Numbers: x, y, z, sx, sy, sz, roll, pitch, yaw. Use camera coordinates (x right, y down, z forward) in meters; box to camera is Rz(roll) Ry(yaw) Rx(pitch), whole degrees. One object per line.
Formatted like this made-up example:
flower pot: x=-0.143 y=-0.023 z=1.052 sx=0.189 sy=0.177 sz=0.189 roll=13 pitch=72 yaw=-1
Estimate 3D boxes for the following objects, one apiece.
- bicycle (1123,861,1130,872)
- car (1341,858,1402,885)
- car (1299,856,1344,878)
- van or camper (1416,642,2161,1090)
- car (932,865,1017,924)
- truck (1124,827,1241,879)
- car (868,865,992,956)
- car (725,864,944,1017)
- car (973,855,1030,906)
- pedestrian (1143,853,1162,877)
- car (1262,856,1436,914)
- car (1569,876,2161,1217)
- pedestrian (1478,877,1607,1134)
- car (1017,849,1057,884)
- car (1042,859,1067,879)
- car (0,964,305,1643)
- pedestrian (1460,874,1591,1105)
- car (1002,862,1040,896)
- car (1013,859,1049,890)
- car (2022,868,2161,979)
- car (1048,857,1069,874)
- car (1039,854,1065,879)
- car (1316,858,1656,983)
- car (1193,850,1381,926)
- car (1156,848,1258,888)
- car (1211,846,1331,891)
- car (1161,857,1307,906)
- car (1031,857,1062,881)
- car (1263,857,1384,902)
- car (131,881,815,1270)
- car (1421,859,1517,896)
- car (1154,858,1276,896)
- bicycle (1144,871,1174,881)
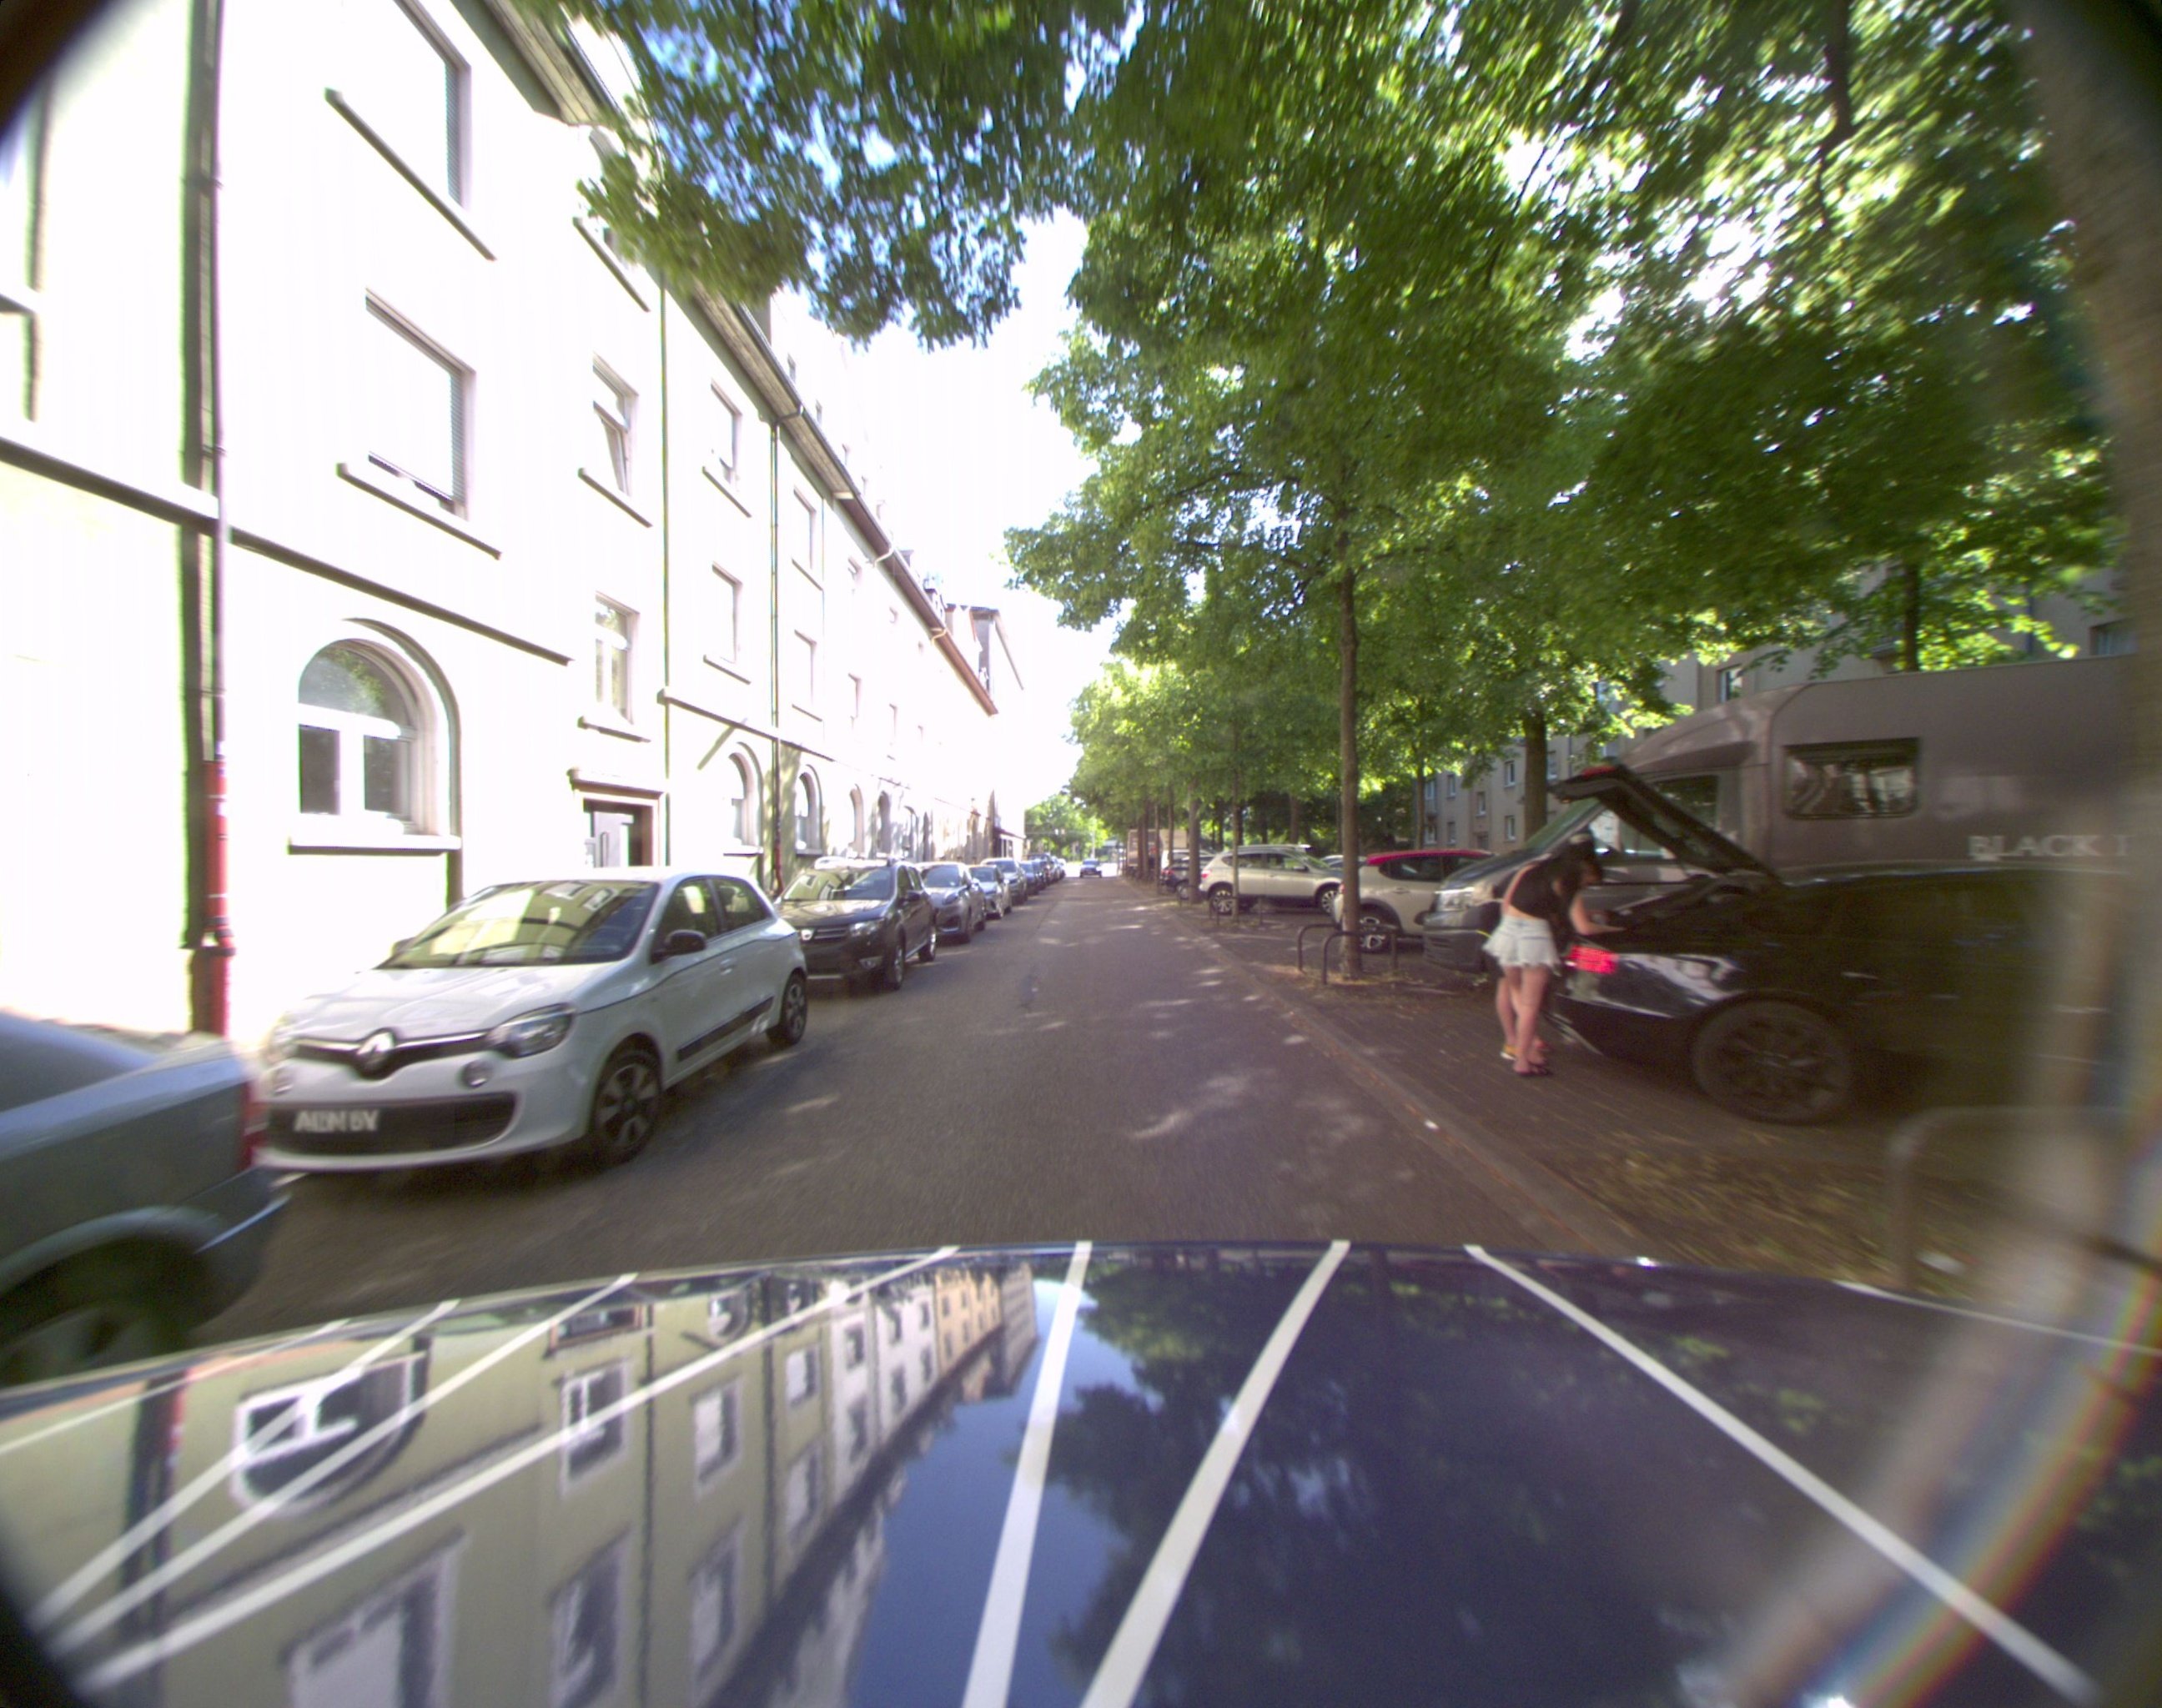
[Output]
bicycle: x=4.395 y=1.237 z=73.998 sx=0.354 sy=1.066 sz=1.591 roll=0 pitch=0 yaw=-10
car: x=15.942 y=0.948 z=41.971 sx=1.622 sy=1.398 sz=4.535 roll=0 pitch=0 yaw=0
car: x=16.399 y=0.846 z=52.033 sx=1.768 sy=1.426 sz=4.344 roll=0 pitch=0 yaw=1
van or camper: x=6.850 y=0.086 z=6.354 sx=7.230 sy=2.912 sz=2.318 roll=0 pitch=0 yaw=28
car: x=-2.820 y=1.037 z=20.989 sx=1.727 sy=1.424 sz=4.158 roll=0 pitch=0 yaw=1
truck: x=6.680 y=-0.057 z=50.578 sx=7.304 sy=3.274 sz=2.552 roll=0 pitch=0 yaw=32
car: x=-2.853 y=1.012 z=15.243 sx=1.727 sy=1.519 sz=4.157 roll=0 pitch=0 yaw=-1
car: x=-3.005 y=0.952 z=10.215 sx=1.727 sy=1.587 sz=4.157 roll=0 pitch=0 yaw=-2
car: x=-2.804 y=0.894 z=27.469 sx=1.727 sy=1.676 sz=4.157 roll=0 pitch=0 yaw=-2
pedestrian: x=4.081 y=0.628 z=43.421 sx=0.751 sy=1.388 sz=0.931 roll=0 pitch=0 yaw=32
car: x=7.161 y=0.812 z=20.419 sx=4.031 sy=1.395 sz=1.827 roll=-2 pitch=0 yaw=33
car: x=5.181 y=0.862 z=3.957 sx=4.318 sy=1.416 sz=1.678 roll=0 pitch=0 yaw=28
pedestrian: x=2.826 y=0.879 z=4.704 sx=0.615 sy=1.447 sz=0.520 roll=0 pitch=0 yaw=24
car: x=-2.504 y=0.710 z=44.186 sx=1.953 sy=1.889 sz=4.846 roll=0 pitch=0 yaw=1
car: x=-2.141 y=1.167 z=60.399 sx=1.807 sy=1.454 sz=4.439 roll=0 pitch=0 yaw=-4
car: x=-3.186 y=1.033 z=0.277 sx=1.635 sy=1.404 sz=4.088 roll=0 pitch=0 yaw=-1
pedestrian: x=3.031 y=0.871 z=5.243 sx=0.710 sy=1.447 sz=0.597 roll=0 pitch=0 yaw=24
car: x=-2.580 y=1.058 z=33.510 sx=1.553 sy=1.386 sz=3.860 roll=0 pitch=0 yaw=-3
car: x=-2.491 y=1.003 z=38.540 sx=1.626 sy=1.489 sz=3.595 roll=0 pitch=0 yaw=-1
car: x=15.711 y=0.968 z=9.823 sx=1.768 sy=1.499 sz=4.309 roll=0 pitch=0 yaw=1
car: x=-2.046 y=1.053 z=70.935 sx=1.723 sy=1.488 sz=4.024 roll=0 pitch=0 yaw=2
car: x=-2.077 y=0.891 z=55.145 sx=1.766 sy=1.743 sz=4.509 roll=0 pitch=0 yaw=-1
car: x=5.621 y=0.813 z=10.910 sx=3.989 sy=1.498 sz=1.761 roll=0 pitch=0 yaw=30
car: x=5.012 y=0.760 z=18.587 sx=4.136 sy=1.669 sz=1.763 roll=0 pitch=0 yaw=30
car: x=6.226 y=0.690 z=37.472 sx=4.512 sy=1.854 sz=2.085 roll=-1 pitch=0 yaw=26
car: x=8.116 y=0.572 z=32.610 sx=4.593 sy=1.821 sz=2.023 roll=1 pitch=1 yaw=30
car: x=5.023 y=0.860 z=25.181 sx=4.411 sy=1.453 sz=1.719 roll=0 pitch=1 yaw=33
car: x=-2.215 y=0.947 z=49.663 sx=1.766 sy=1.491 sz=4.238 roll=0 pitch=0 yaw=0
car: x=8.438 y=0.847 z=26.503 sx=3.623 sy=1.447 sz=1.822 roll=0 pitch=0 yaw=38
car: x=-3.189 y=0.996 z=5.006 sx=1.635 sy=1.525 sz=3.592 roll=0 pitch=0 yaw=-1
car: x=15.703 y=0.905 z=31.000 sx=1.896 sy=1.379 sz=4.000 roll=1 pitch=0 yaw=1
car: x=5.391 y=0.880 z=30.766 sx=4.477 sy=1.447 sz=1.791 roll=0 pitch=0 yaw=33
bicycle: x=4.363 y=1.215 z=42.575 sx=1.610 sy=0.555 sz=0.410 roll=0 pitch=0 yaw=32
